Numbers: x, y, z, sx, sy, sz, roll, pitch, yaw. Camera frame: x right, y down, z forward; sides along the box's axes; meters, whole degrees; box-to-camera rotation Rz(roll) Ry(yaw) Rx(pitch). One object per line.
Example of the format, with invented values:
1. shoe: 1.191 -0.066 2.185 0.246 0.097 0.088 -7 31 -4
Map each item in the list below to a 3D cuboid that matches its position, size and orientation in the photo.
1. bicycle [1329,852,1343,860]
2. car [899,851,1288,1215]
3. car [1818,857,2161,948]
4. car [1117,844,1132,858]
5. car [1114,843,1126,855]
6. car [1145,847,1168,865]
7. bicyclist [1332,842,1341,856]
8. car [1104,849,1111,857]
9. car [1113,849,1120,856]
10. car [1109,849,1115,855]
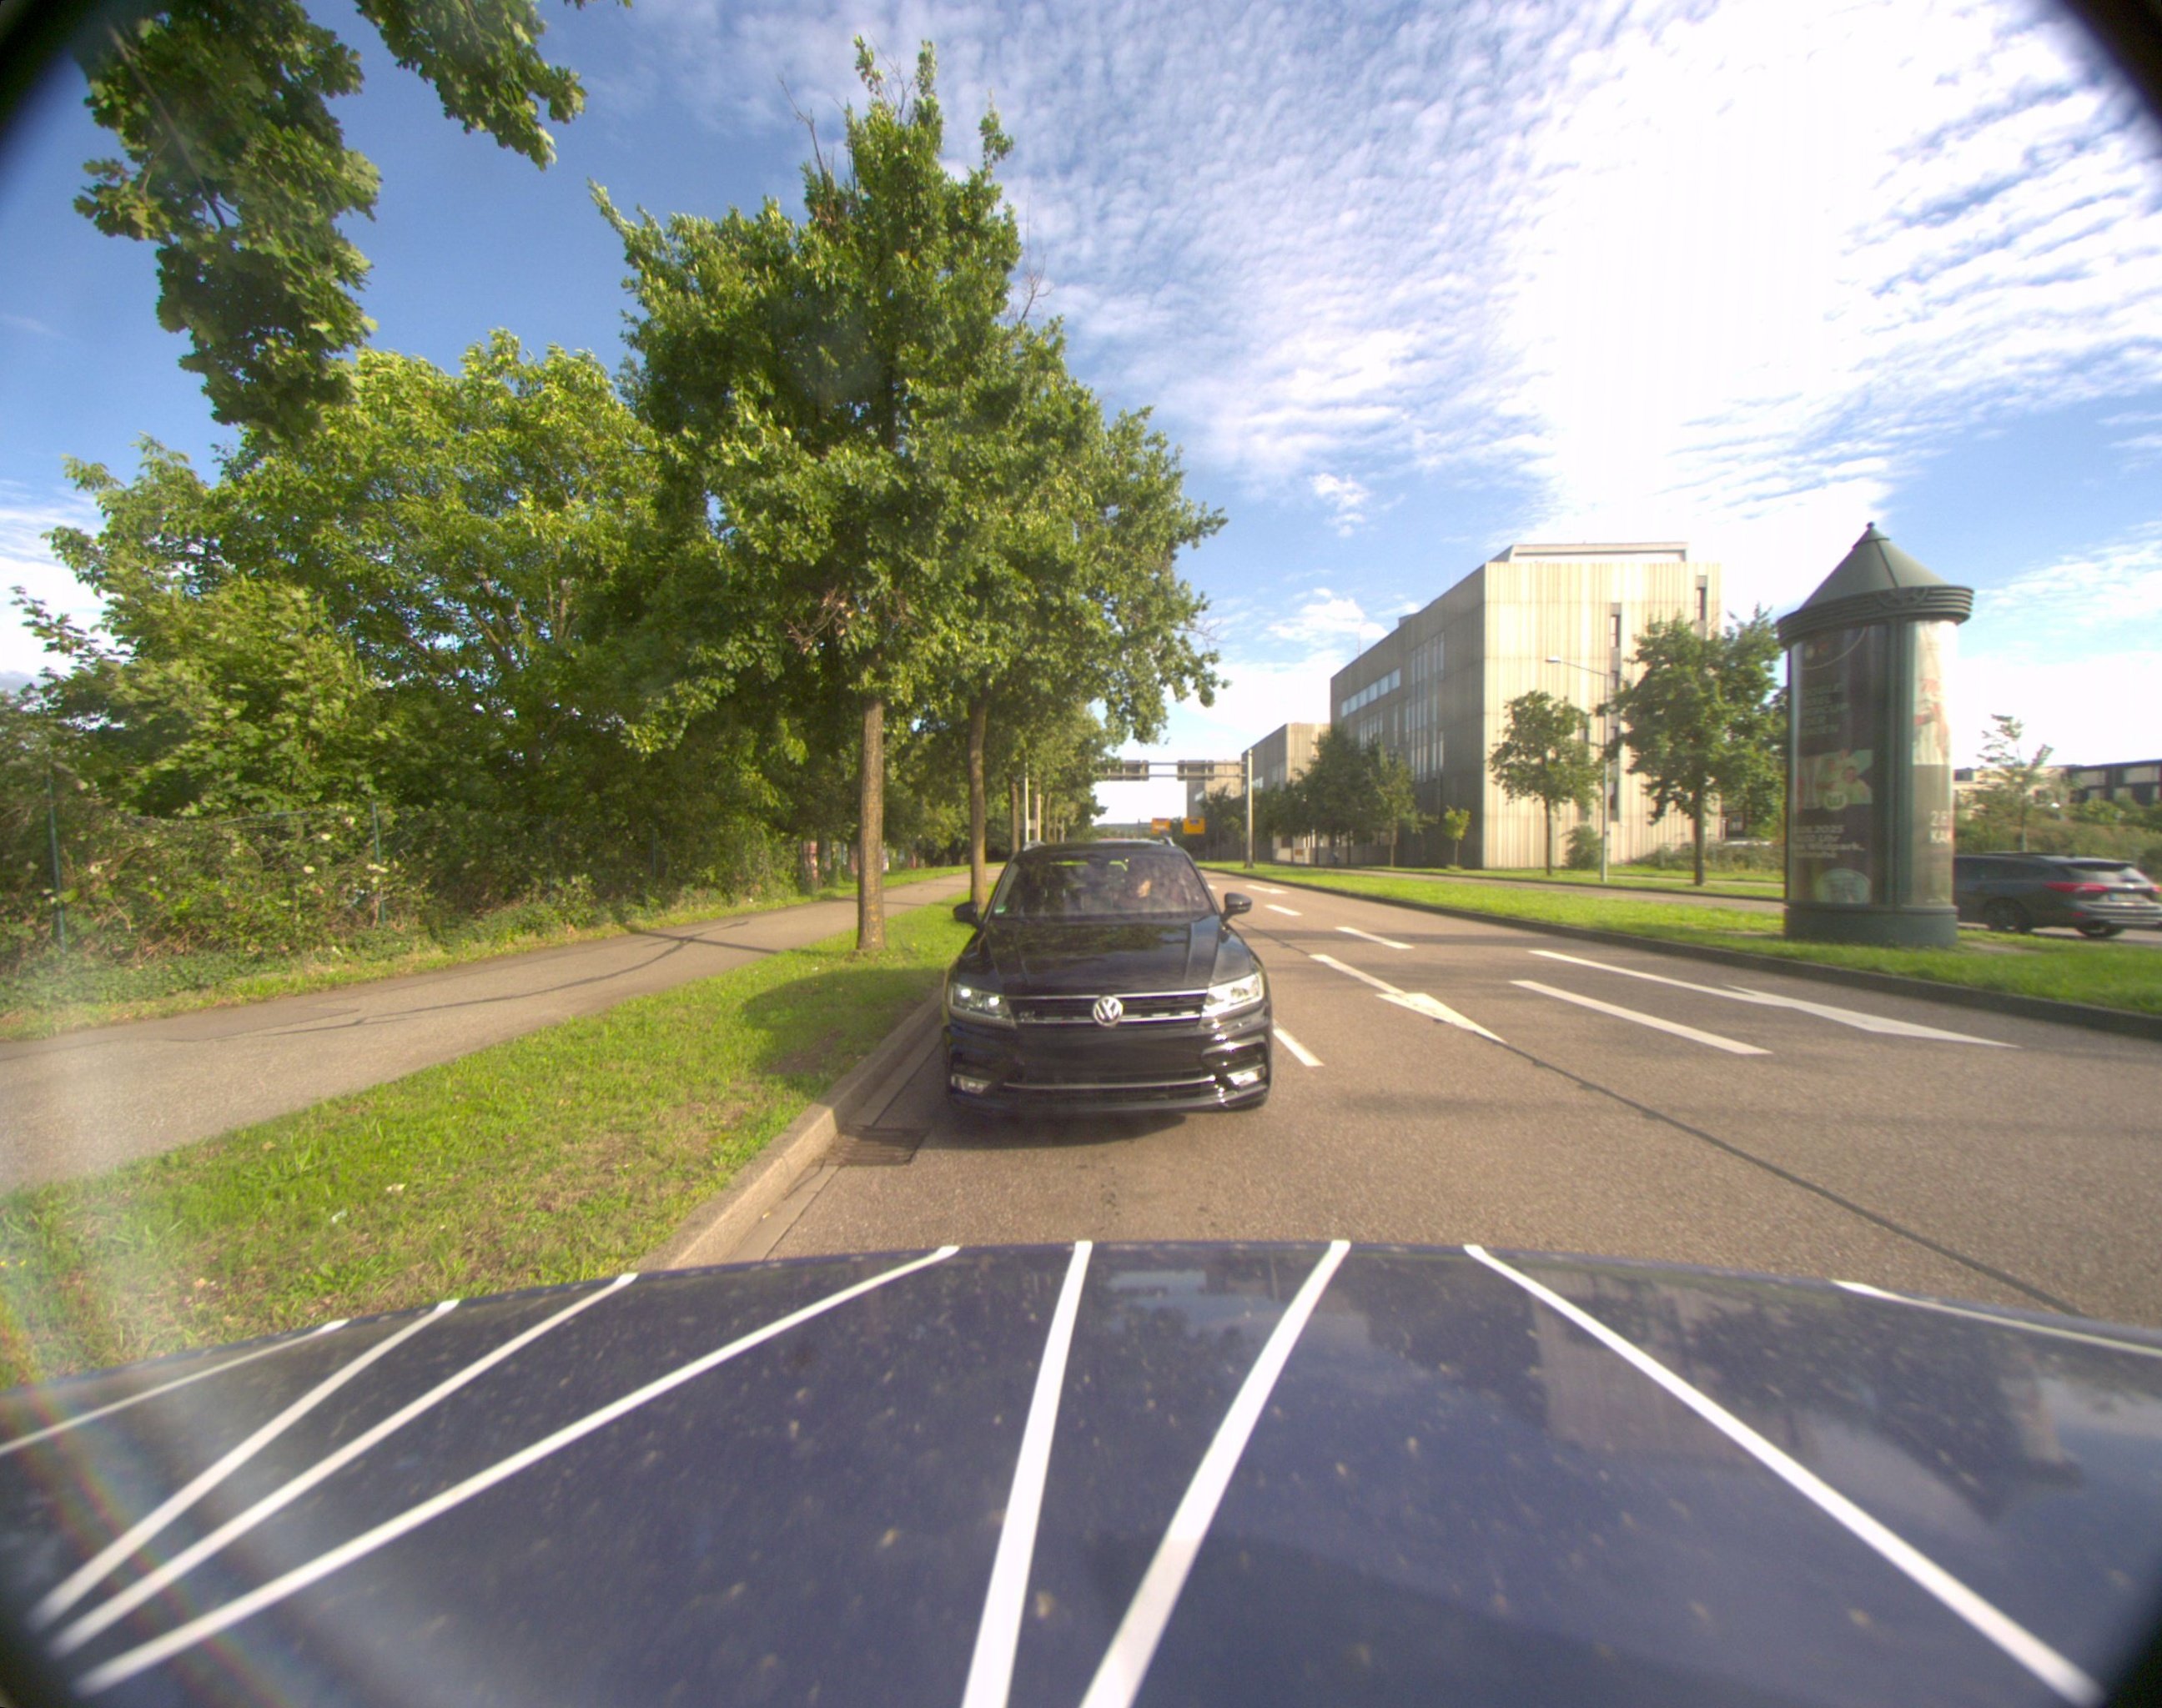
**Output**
1. bicycle: 29.334 0.232 87.394 0.897 0.975 1.911 0 0 1
2. car: 0.113 0.842 5.498 1.775 1.637 3.868 -2 1 2
3. car: 17.286 0.812 14.721 1.905 1.402 4.207 2 1 0
4. car: 5.721 -0.392 99.874 1.758 1.696 4.000 -1 0 0
5. car: 5.728 -0.729 111.977 1.598 1.660 3.632 0 0 0
6. car: 6.368 0.153 64.062 1.745 1.455 4.000 -1 1 3
7. bicyclist: 29.323 -0.573 87.303 0.707 1.517 0.989 0 1 1
8. car: 7.075 -0.299 203.225 1.998 2.002 4.000 0 0 0
9. car: 10.138 -0.528 215.646 1.798 2.002 4.000 0 0 0
10. car: 9.815 -0.697 237.389 1.715 2.002 4.000 0 0 0
